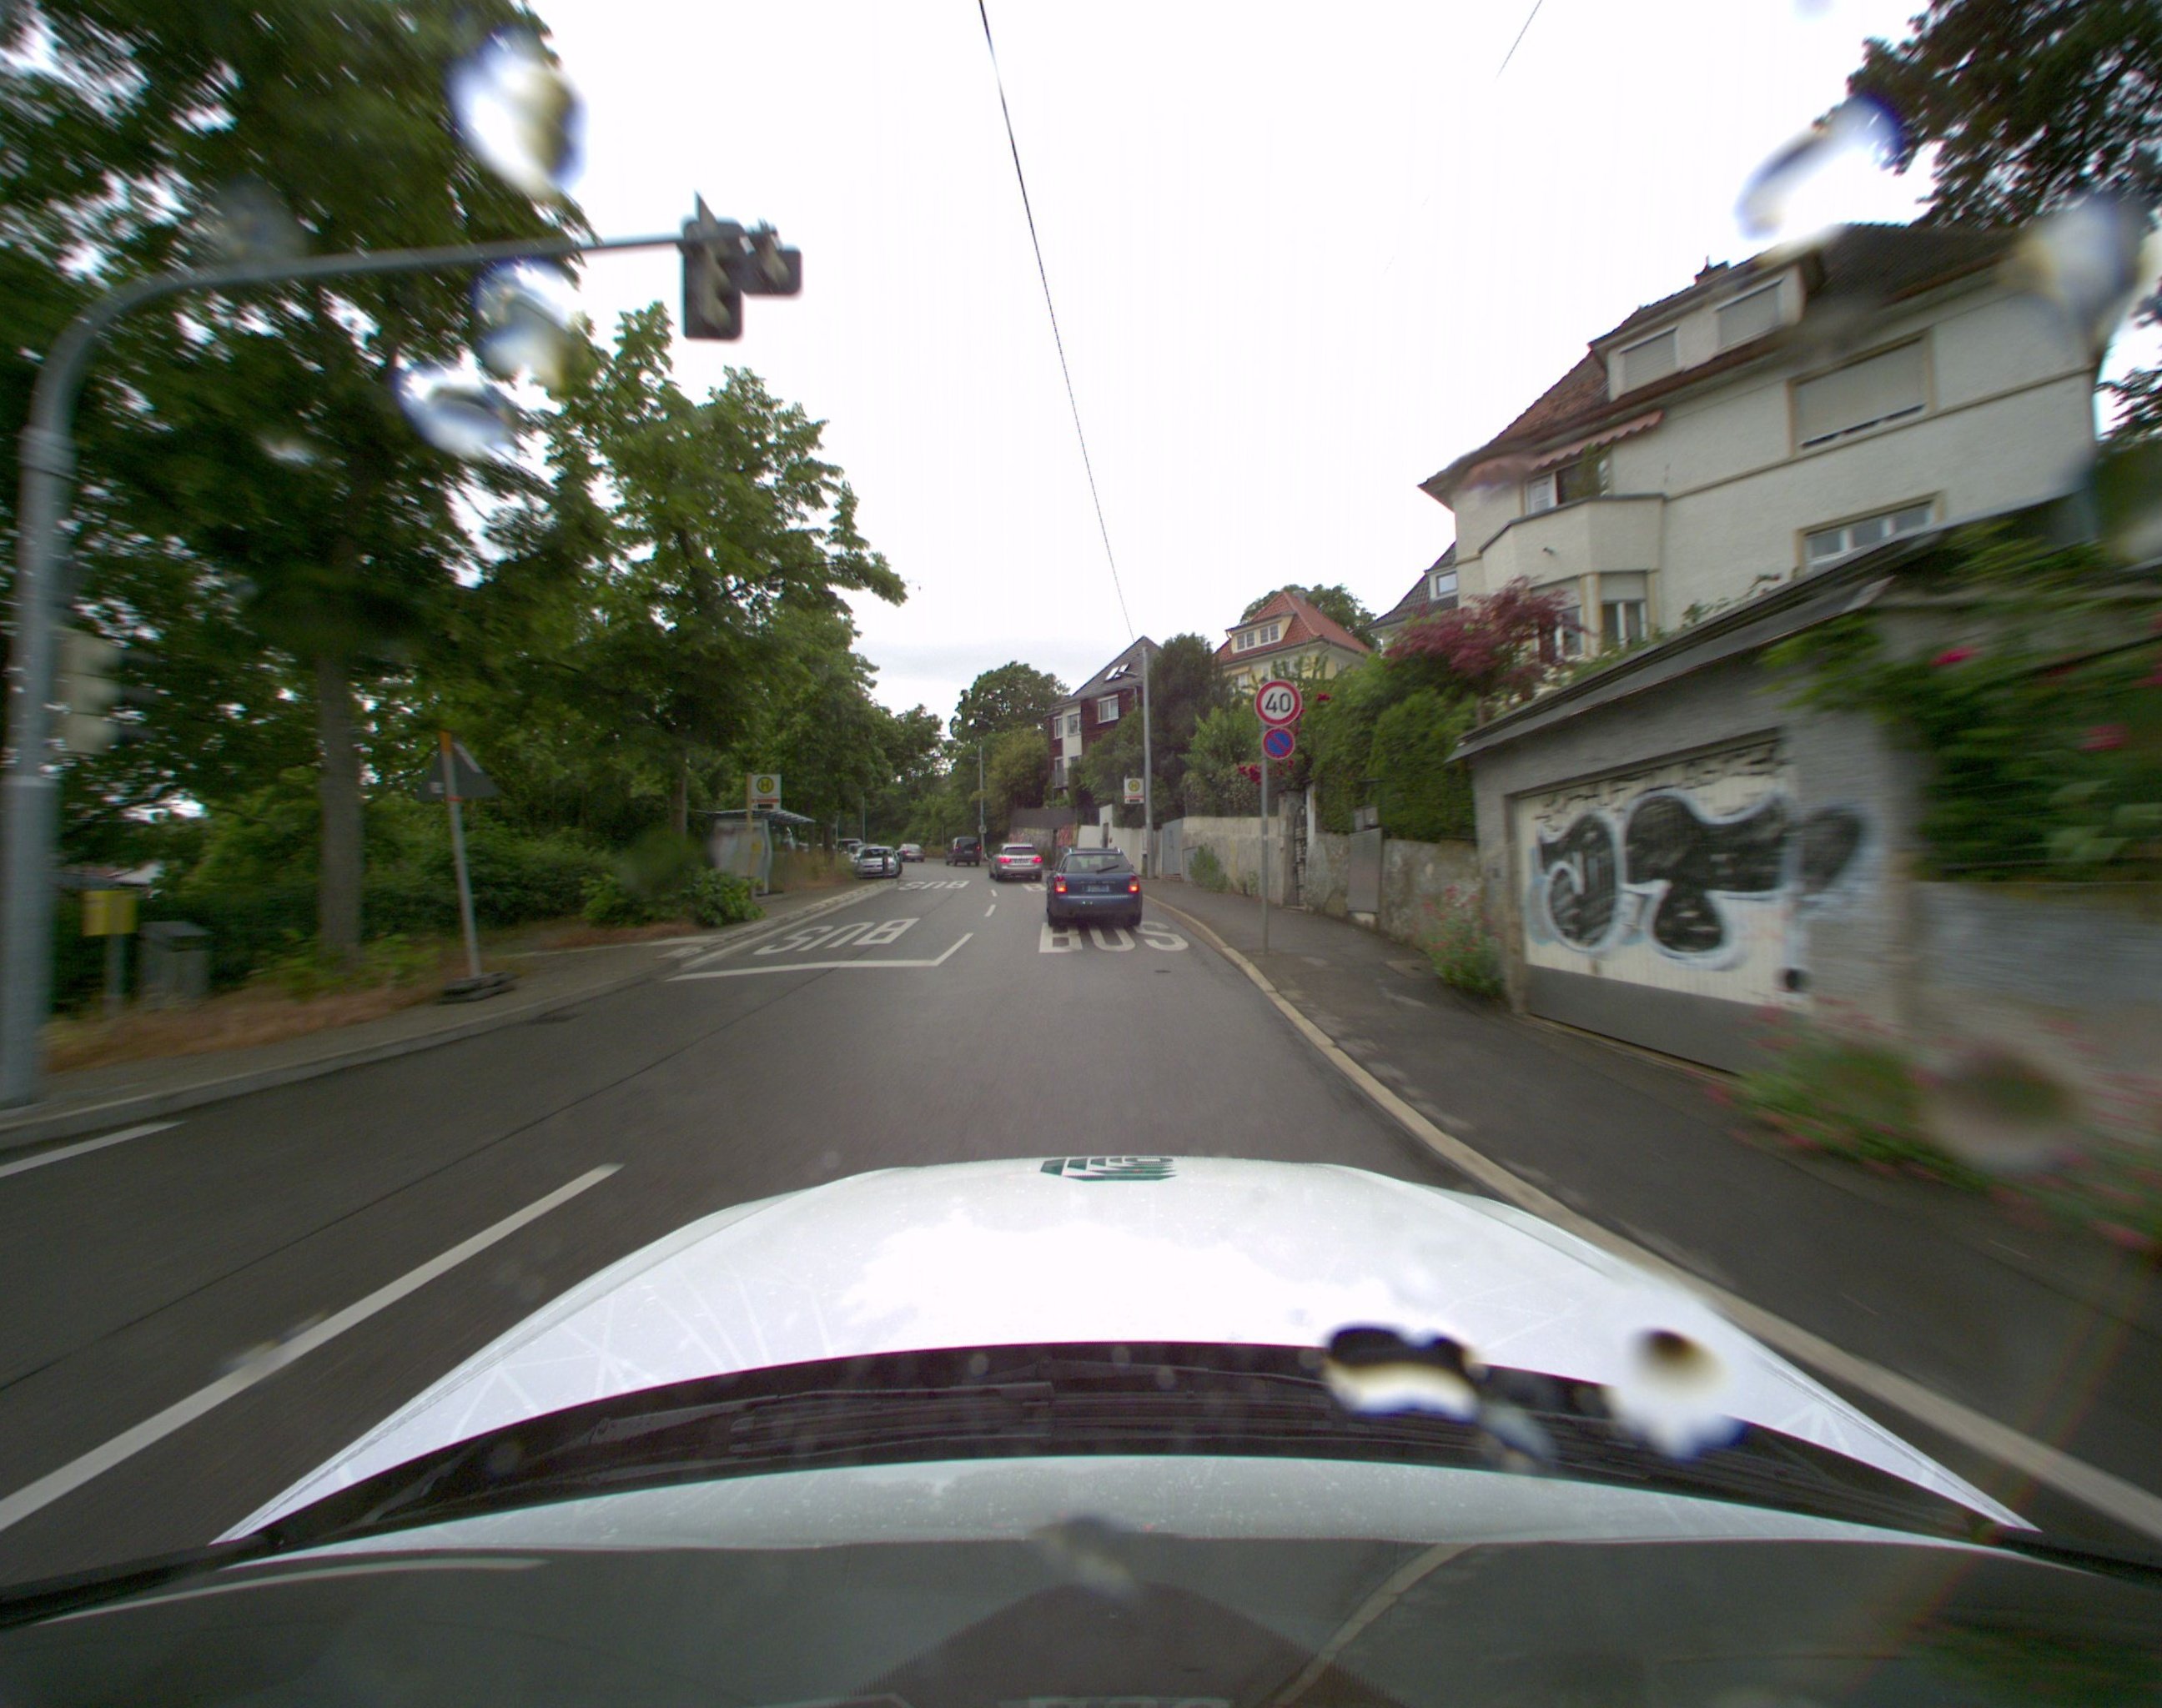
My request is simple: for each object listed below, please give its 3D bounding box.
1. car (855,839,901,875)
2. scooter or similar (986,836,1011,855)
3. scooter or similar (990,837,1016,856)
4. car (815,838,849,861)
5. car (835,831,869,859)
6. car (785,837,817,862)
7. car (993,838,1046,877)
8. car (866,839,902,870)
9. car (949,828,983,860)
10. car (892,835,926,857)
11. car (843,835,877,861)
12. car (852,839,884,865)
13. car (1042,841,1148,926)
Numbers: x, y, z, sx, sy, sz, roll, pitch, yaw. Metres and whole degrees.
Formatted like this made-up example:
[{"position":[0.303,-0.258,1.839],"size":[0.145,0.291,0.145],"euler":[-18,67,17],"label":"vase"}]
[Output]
[{"position":[-9.095,0.085,36.731],"size":[1.674,1.426,3.986],"euler":[-3,2,-10],"label":"car"},{"position":[-6.305,-0.654,62.080],"size":[1.834,1.315,0.598],"euler":[3,-2,-11],"label":"scooter or similar"},{"position":[-6.024,-0.591,62.909],"size":[1.834,1.315,0.598],"euler":[3,-2,-11],"label":"scooter or similar"},{"position":[-20.261,-0.390,66.135],"size":[2.003,1.727,3.968],"euler":[-4,2,-25],"label":"car"},{"position":[-16.396,-0.629,58.186],"size":[1.844,1.843,3.874],"euler":[-3,2,-22],"label":"car"},{"position":[-24.527,-0.381,71.250],"size":[2.005,2.013,3.964],"euler":[-3,2,-28],"label":"car"},{"position":[-2.471,0.115,32.391],"size":[1.906,1.388,4.342],"euler":[1,0,-5],"label":"car"},{"position":[-10.251,-0.006,42.246],"size":[1.676,1.426,3.981],"euler":[-3,2,-14],"label":"car"},{"position":[-7.425,-0.677,52.249],"size":[1.732,1.894,4.038],"euler":[-3,2,-13],"label":"car"},{"position":[-13.701,-0.640,64.898],"size":[1.774,1.570,3.998],"euler":[-3,2,-24],"label":"car"},{"position":[-14.551,-0.411,53.431],"size":[1.680,1.551,3.875],"euler":[-3,2,-21],"label":"car"},{"position":[-12.653,-0.158,48.183],"size":[1.677,1.426,3.979],"euler":[-3,2,-16],"label":"car"},{"position":[0.154,0.478,16.124],"size":[1.774,1.439,3.995],"euler":[0,1,-4],"label":"car"}]
